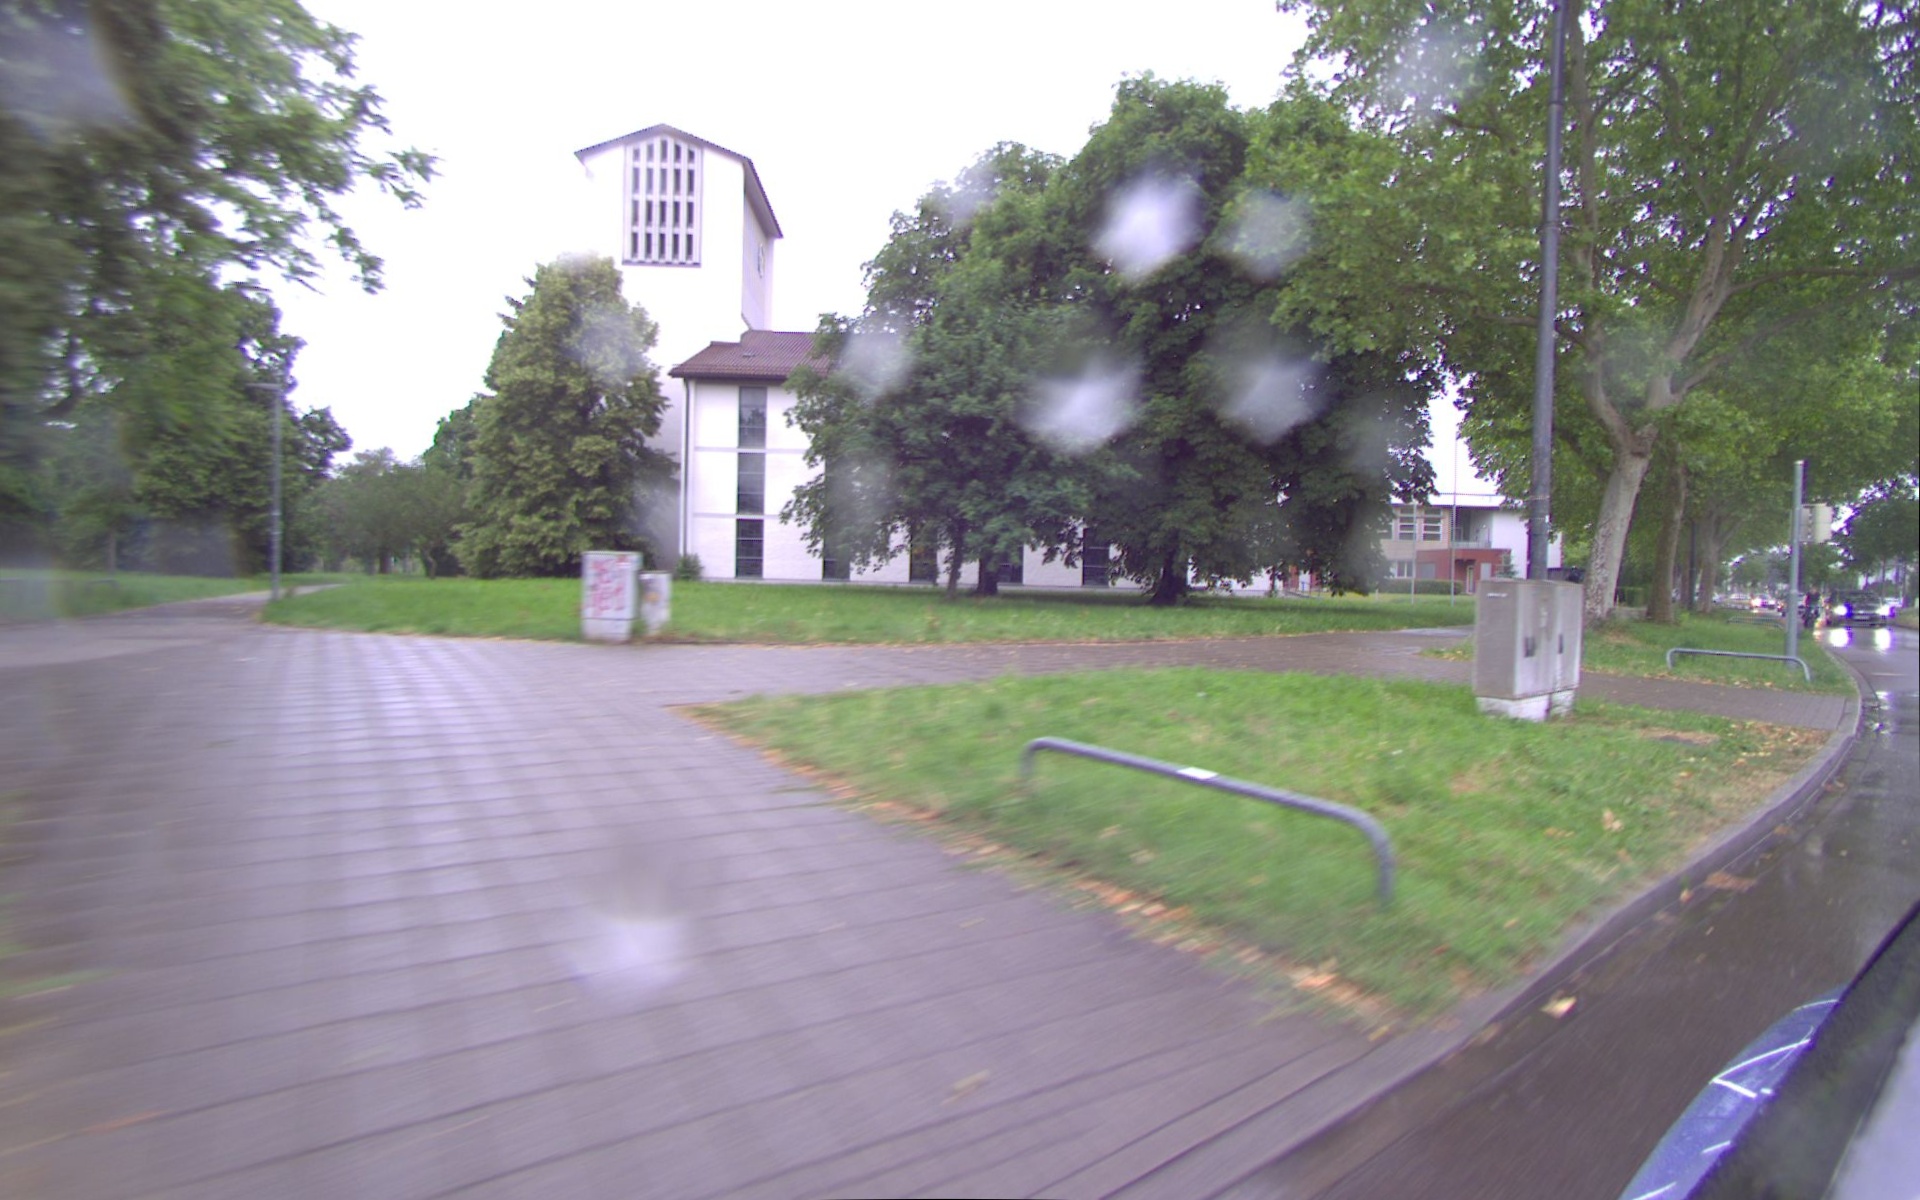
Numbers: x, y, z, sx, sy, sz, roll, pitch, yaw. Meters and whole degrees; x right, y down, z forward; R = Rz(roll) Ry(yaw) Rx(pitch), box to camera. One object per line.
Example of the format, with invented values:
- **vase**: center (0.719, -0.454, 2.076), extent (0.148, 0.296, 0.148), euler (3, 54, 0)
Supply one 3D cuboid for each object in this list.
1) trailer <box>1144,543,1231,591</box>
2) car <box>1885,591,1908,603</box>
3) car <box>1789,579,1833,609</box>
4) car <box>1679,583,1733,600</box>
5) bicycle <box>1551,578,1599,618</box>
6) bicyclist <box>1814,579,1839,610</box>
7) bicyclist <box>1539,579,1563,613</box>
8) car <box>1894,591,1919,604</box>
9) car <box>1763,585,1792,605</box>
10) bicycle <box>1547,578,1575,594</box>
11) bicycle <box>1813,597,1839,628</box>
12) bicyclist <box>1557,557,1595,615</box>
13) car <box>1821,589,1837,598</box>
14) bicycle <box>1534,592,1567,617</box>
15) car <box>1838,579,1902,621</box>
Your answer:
- **trailer**: center (11.613, -1.681, 51.834), extent (3.943, 2.337, 1.893), euler (2, 1, -1)
- **car**: center (119.041, -0.388, 128.627), extent (1.750, 1.535, 3.803), euler (-1, 0, 37)
- **car**: center (51.967, -0.400, 61.847), extent (1.758, 1.746, 3.884), euler (1, 1, 36)
- **car**: center (74.920, -0.859, 101.729), extent (3.964, 1.505, 1.630), euler (2, 2, 18)
- **bicycle**: center (18.652, -0.050, 30.672), extent (1.939, 1.157, 0.712), euler (0, 2, -43)
- **bicyclist**: center (30.772, -0.199, 35.943), extent (0.619, 1.098, 0.615), euler (3, 2, 41)
- **bicyclist**: center (18.515, -0.128, 31.715), extent (0.581, 1.051, 0.487), euler (0, 2, -42)
- **car**: center (116.674, -0.320, 124.774), extent (1.750, 1.535, 3.803), euler (-1, 0, 37)
- **car**: center (75.971, -0.471, 94.055), extent (1.757, 1.746, 3.885), euler (2, 3, 35)
- **bicycle**: center (46.164, -1.078, 77.763), extent (1.898, 1.135, 0.522), euler (2, 3, -9)
- **bicycle**: center (30.791, 0.434, 35.996), extent (0.657, 1.026, 2.224), euler (3, 3, 40)
- **bicyclist**: center (18.676, -0.425, 30.665), extent (0.941, 1.742, 0.712), euler (1, 1, -43)
- **car**: center (149.588, -1.069, 174.175), extent (1.750, 1.535, 3.803), euler (-1, 0, 37)
- **bicycle**: center (18.525, 0.135, 31.731), extent (1.433, 0.717, 0.487), euler (-1, 2, -42)
- **car**: center (39.921, -0.001, 44.484), extent (1.759, 1.747, 3.881), euler (0, 0, 37)
